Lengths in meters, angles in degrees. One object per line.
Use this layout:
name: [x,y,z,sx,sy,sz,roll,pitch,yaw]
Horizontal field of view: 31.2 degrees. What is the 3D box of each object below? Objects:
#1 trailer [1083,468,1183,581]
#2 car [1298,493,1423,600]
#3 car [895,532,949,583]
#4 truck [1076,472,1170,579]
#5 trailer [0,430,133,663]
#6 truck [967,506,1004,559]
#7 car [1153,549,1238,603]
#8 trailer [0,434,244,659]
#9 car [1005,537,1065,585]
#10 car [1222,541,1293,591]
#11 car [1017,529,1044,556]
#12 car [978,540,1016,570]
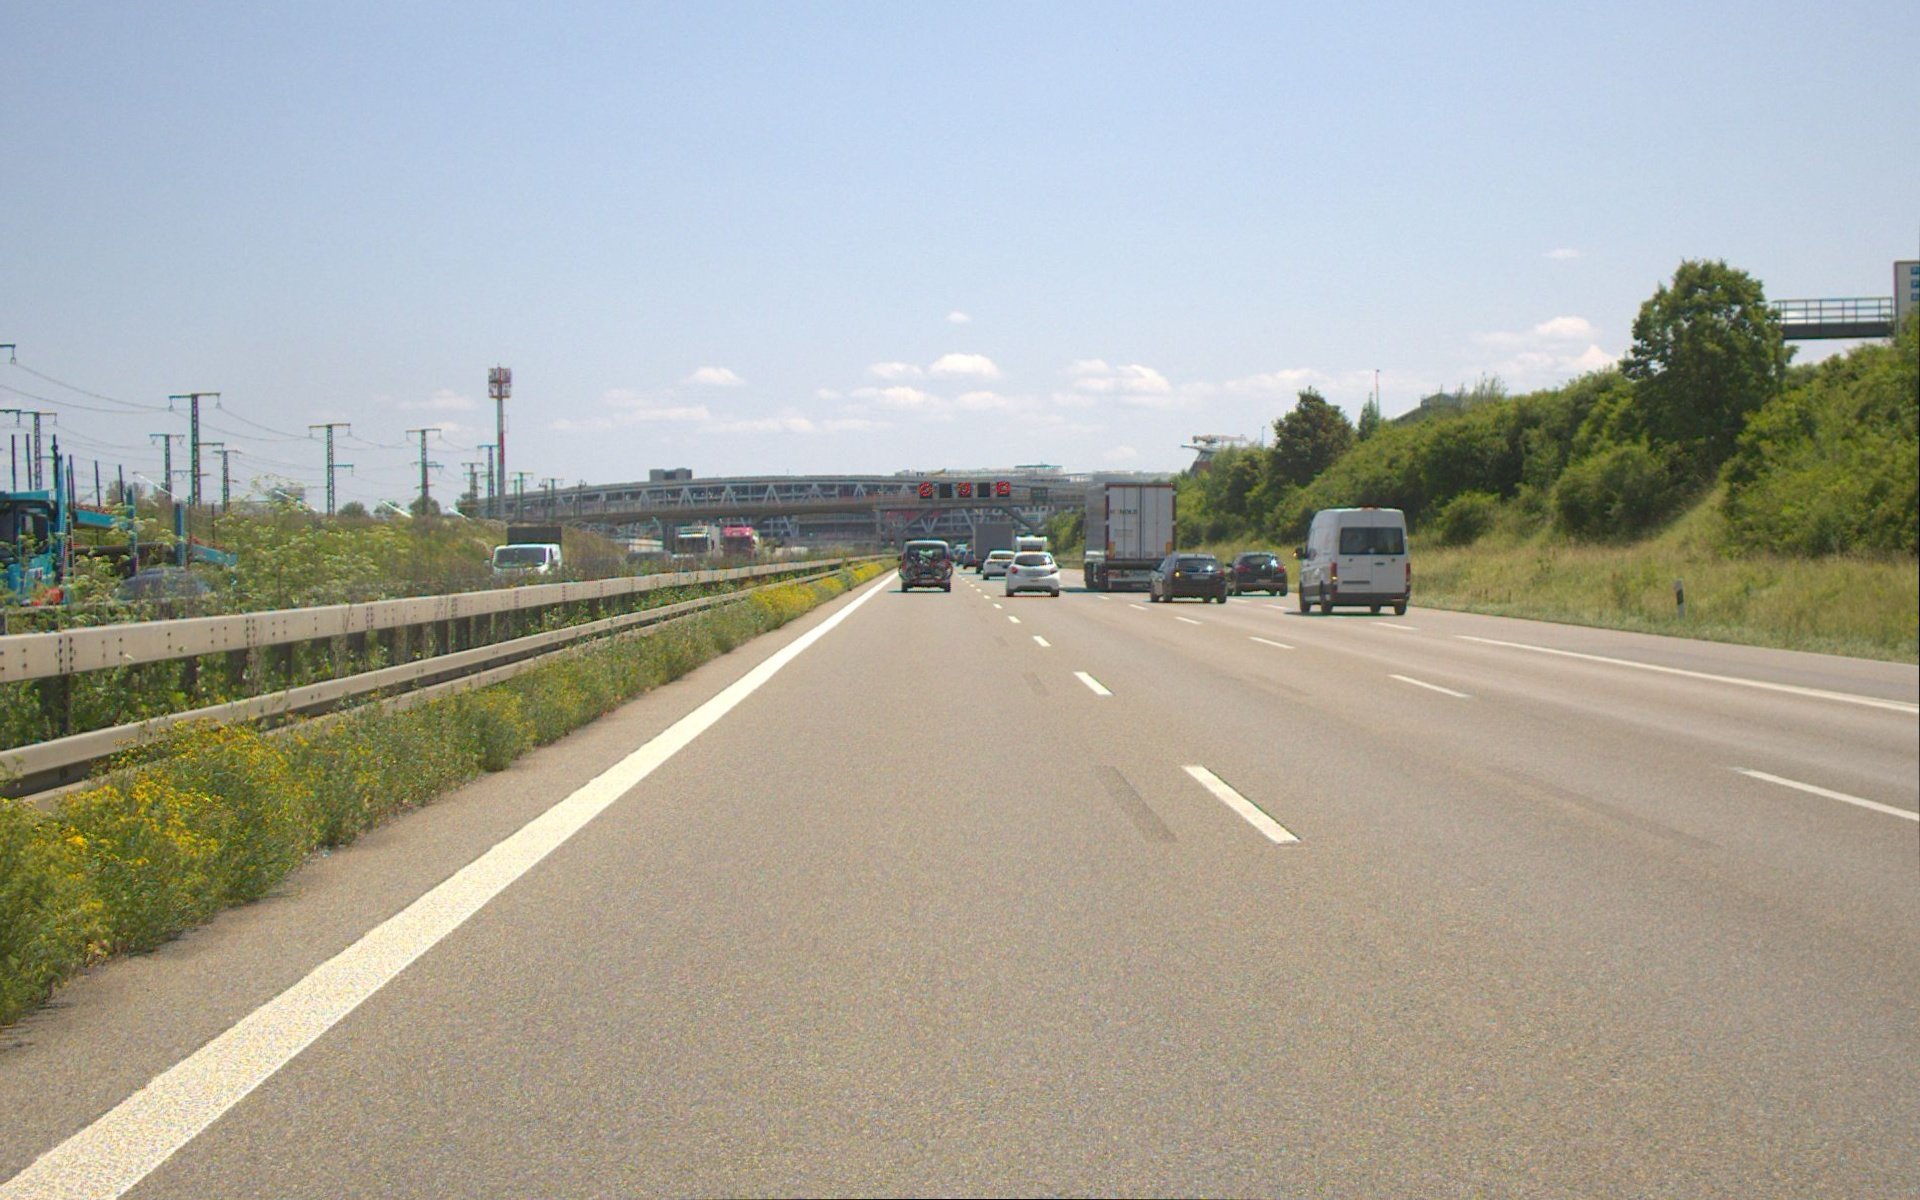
trailer: [6.439,-2.804,129.015,3.177,4.045,9.440,-1,1,0]
car: [9.738,-1.313,83.992,2.274,2.519,5.400,0,1,-1]
car: [-1.348,-1.509,122.985,1.881,1.769,4.000,-1,0,0]
truck: [6.406,-2.941,136.610,3.177,4.045,9.440,-1,1,0]
trailer: [-16.917,-0.929,60.456,3.050,3.854,7.204,-1,1,-1]
truck: [1.672,-4.376,224.557,2.355,3.404,6.057,0,1,0]
car: [6.930,-0.705,101.500,1.993,1.503,4.000,1,0,-3]
trailer: [-17.018,-1.037,66.818,3.050,3.854,15.978,-1,1,-1]
car: [2.469,-1.255,112.656,1.881,1.521,4.000,0,0,2]
car: [10.193,-1.160,117.906,1.993,1.590,4.000,1,0,-1]
car: [5.283,-4.340,258.289,1.993,2.007,4.437,-1,1,1]
car: [1.913,-2.318,177.456,1.881,1.521,4.000,0,0,1]
